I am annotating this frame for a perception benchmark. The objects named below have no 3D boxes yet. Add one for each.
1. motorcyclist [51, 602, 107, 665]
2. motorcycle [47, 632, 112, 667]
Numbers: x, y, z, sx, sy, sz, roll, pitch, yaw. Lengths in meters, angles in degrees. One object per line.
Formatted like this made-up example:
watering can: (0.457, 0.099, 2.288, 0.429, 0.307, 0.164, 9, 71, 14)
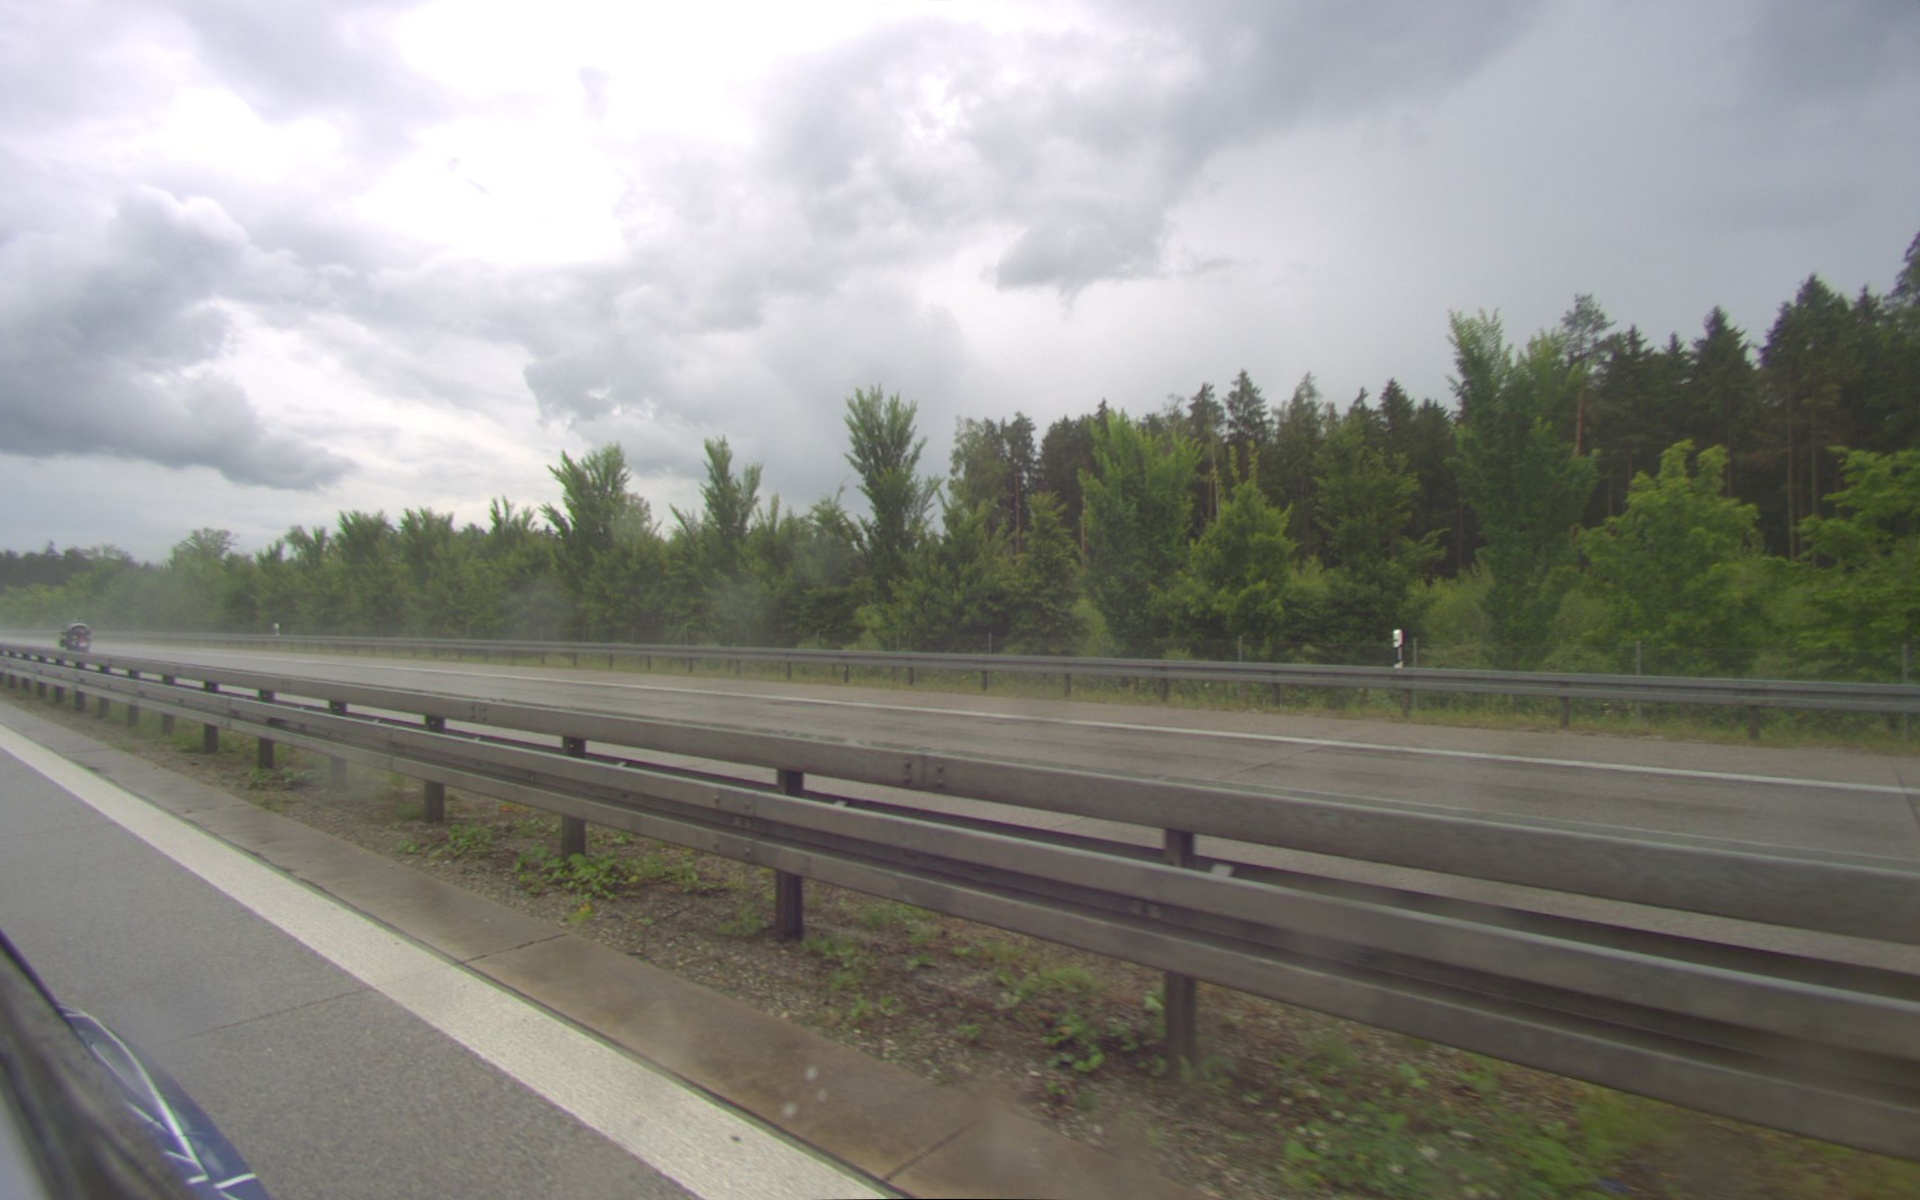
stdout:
motorcyclist: (-32.650, 1.221, 37.492, 1.695, 2.246, 1.249, -1, 0, 38)
motorcycle: (-32.592, 1.809, 37.455, 2.958, 1.152, 1.254, -1, 0, 38)
